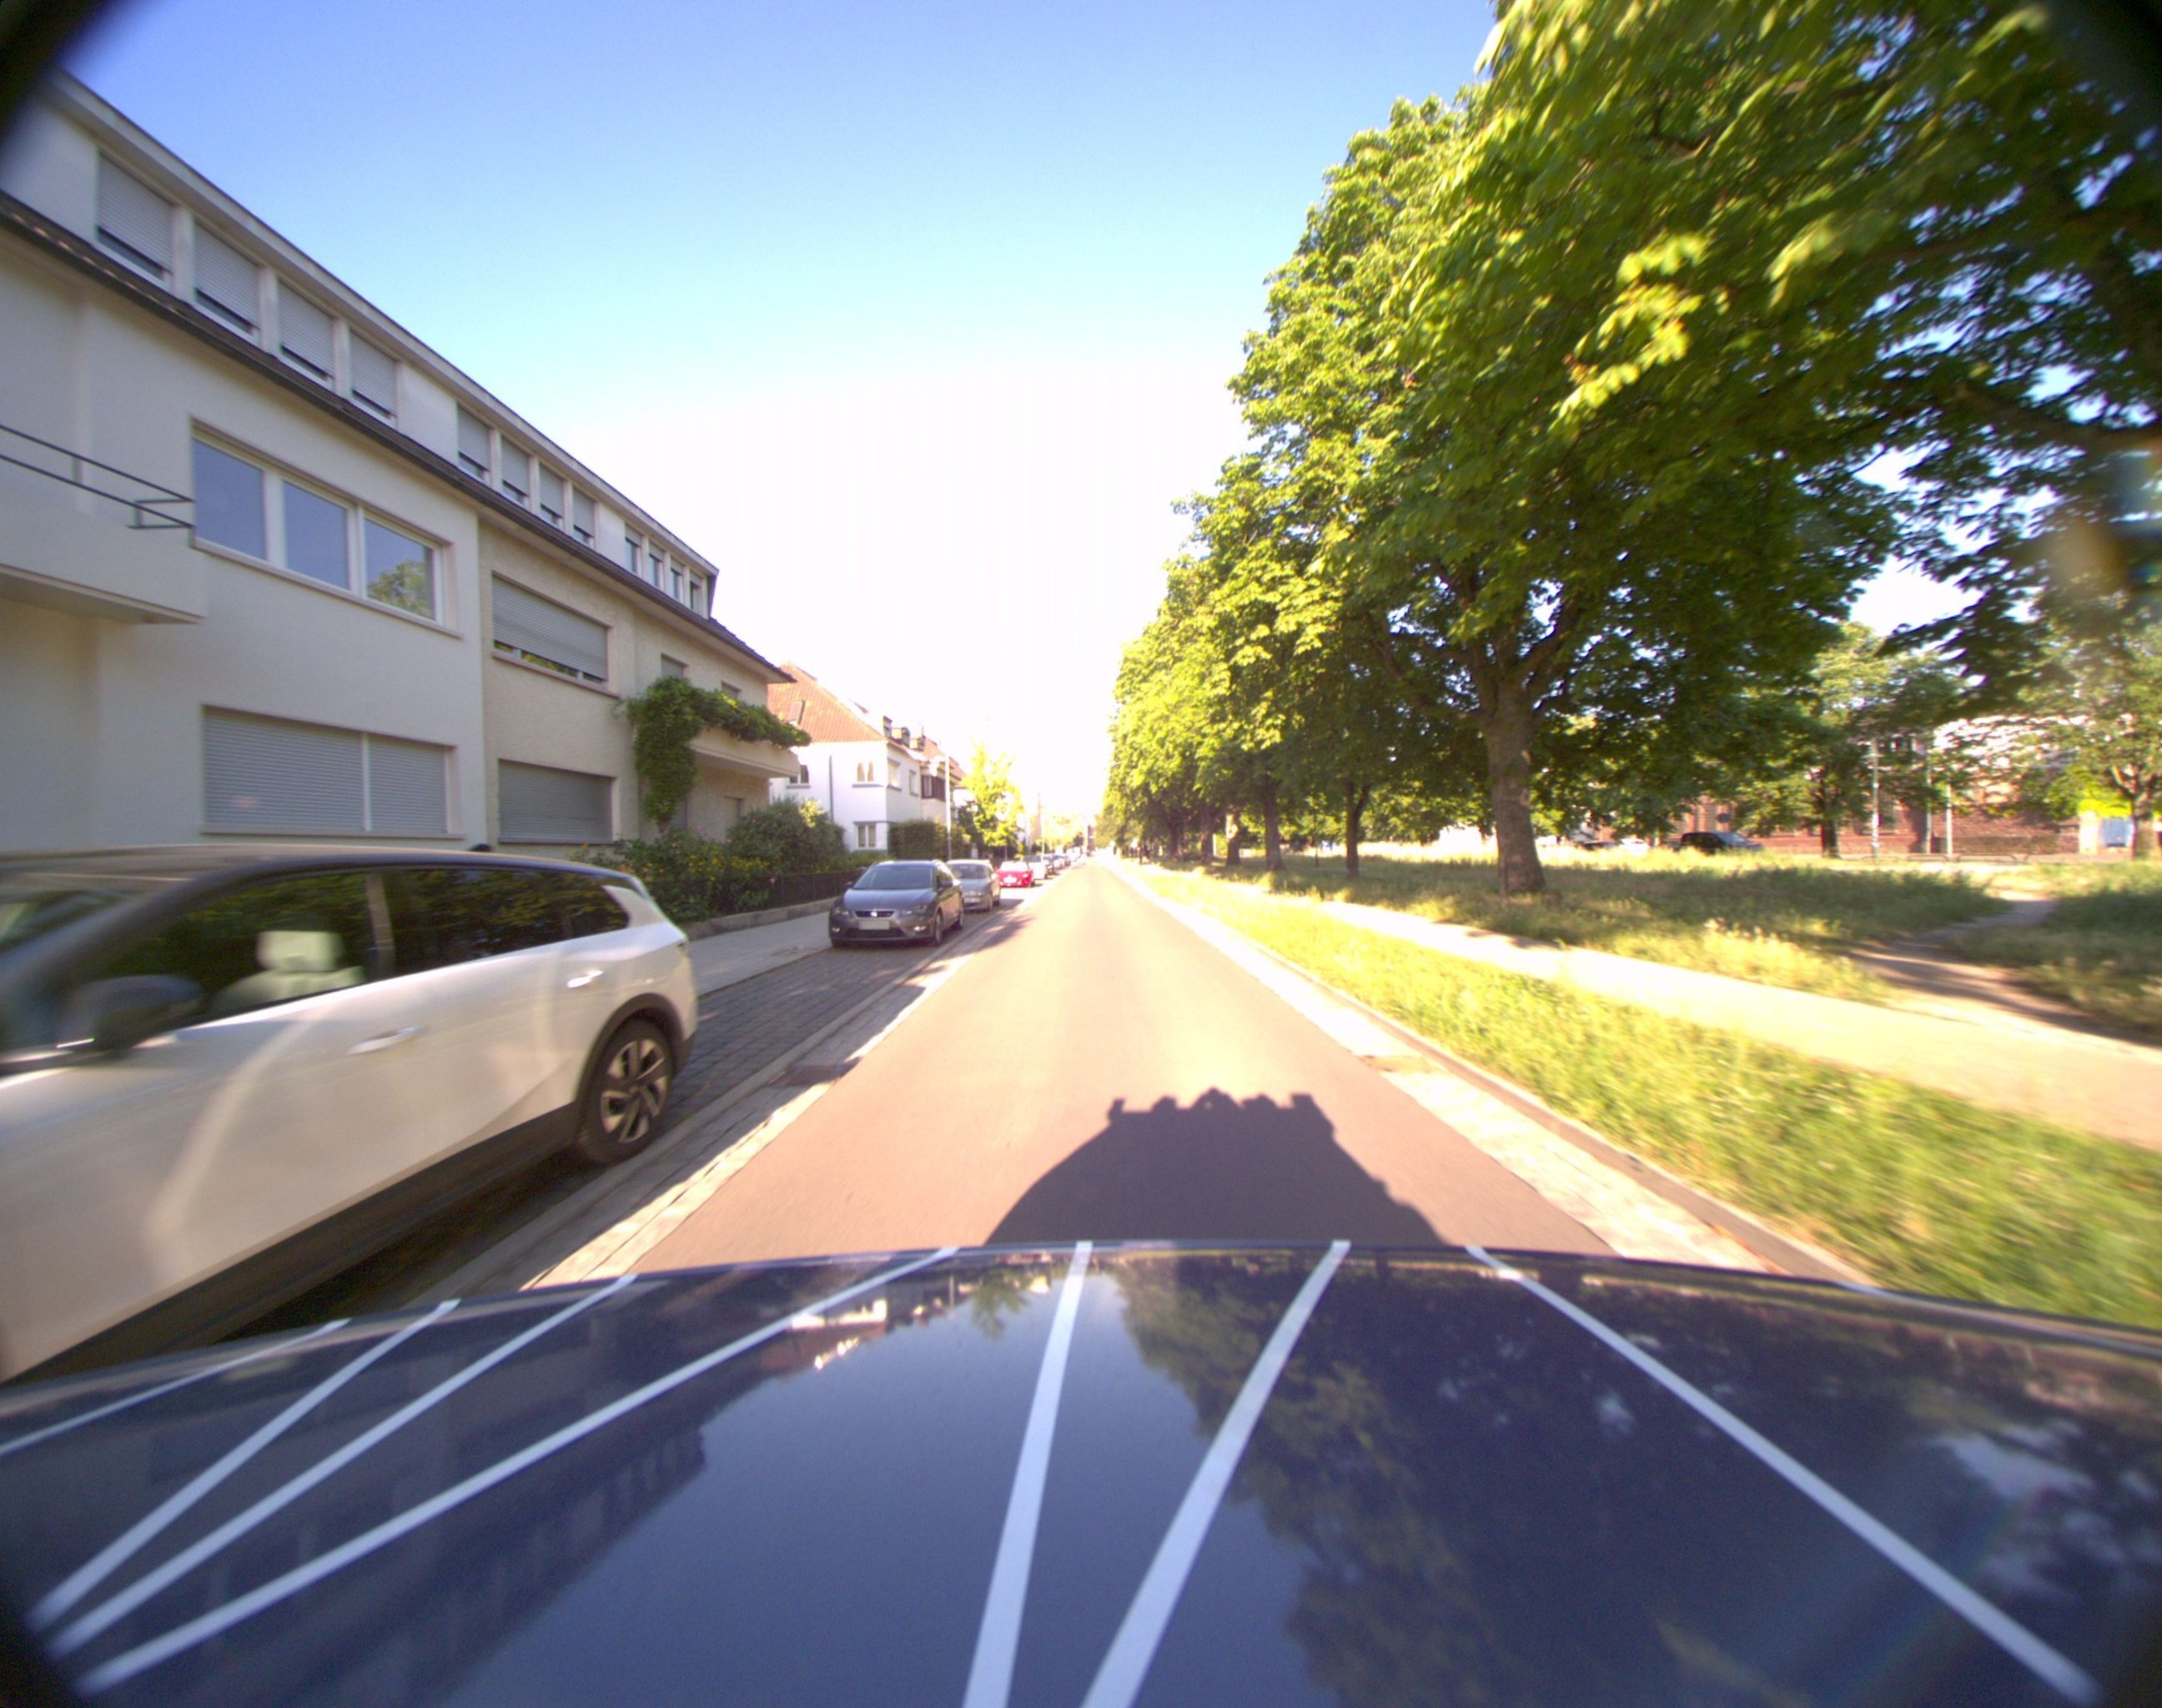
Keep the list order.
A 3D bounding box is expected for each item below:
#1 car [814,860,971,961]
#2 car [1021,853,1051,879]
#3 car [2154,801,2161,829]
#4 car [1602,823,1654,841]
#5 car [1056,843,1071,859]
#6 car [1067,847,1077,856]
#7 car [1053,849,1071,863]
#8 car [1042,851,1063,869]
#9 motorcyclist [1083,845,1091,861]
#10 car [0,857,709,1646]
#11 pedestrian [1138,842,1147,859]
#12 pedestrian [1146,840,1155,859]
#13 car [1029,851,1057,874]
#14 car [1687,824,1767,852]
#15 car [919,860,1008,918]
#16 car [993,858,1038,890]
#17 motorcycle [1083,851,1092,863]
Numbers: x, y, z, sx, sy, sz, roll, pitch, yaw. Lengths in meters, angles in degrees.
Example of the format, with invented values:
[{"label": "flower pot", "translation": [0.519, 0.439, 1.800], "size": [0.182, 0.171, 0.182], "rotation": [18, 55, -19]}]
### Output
[{"label": "car", "translation": [-3.231, 0.896, 13.924], "size": [1.798, 1.485, 4.193], "rotation": [0, 1, 0]}, {"label": "car", "translation": [-2.671, 0.681, 45.409], "size": [1.508, 1.471, 3.492], "rotation": [-1, 1, 1]}, {"label": "car", "translation": [51.178, -1.848, 34.117], "size": [3.636, 1.273, 1.586], "rotation": [-3, 2, 2]}, {"label": "car", "translation": [43.199, -1.715, 60.090], "size": [1.585, 1.267, 3.580], "rotation": [-3, 1, 1]}, {"label": "car", "translation": [-2.499, -0.446, 107.523], "size": [1.844, 2.196, 3.763], "rotation": [-2, 1, 1]}, {"label": "car", "translation": [-1.633, -0.452, 139.170], "size": [1.844, 1.471, 3.763], "rotation": [-2, 1, 0]}, {"label": "car", "translation": [-2.241, 0.218, 90.842], "size": [1.844, 1.471, 3.764], "rotation": [-2, 1, 2]}, {"label": "car", "translation": [-2.581, 0.531, 70.654], "size": [1.665, 1.527, 3.832], "rotation": [-1, 1, 2]}, {"label": "motorcyclist", "translation": [0.754, -0.167, 98.673], "size": [0.961, 2.002, 1.273], "rotation": [-3, 2, 0]}, {"label": "car", "translation": [-3.290, 0.878, 2.329], "size": [1.910, 1.698, 4.575], "rotation": [0, 0, 2]}, {"label": "pedestrian", "translation": [6.053, -0.378, 75.130], "size": [0.625, 1.621, 0.606], "rotation": [-2, 2, 27]}, {"label": "pedestrian", "translation": [6.862, -0.488, 74.967], "size": [0.625, 1.841, 0.606], "rotation": [-1, 3, 40]}, {"label": "car", "translation": [-2.666, 0.597, 54.409], "size": [1.746, 1.471, 4.056], "rotation": [-2, 1, 0]}, {"label": "car", "translation": [37.357, -0.952, 44.042], "size": [1.585, 1.473, 3.639], "rotation": [-3, 1, 1]}, {"label": "car", "translation": [-3.159, 0.909, 21.203], "size": [1.798, 1.372, 4.078], "rotation": [0, 1, 0]}, {"label": "car", "translation": [-2.955, 0.872, 35.071], "size": [1.702, 1.250, 3.879], "rotation": [-1, 1, 0]}, {"label": "motorcycle", "translation": [0.783, 0.362, 98.727], "size": [1.077, 1.373, 2.463], "rotation": [-3, 1, 0]}]
